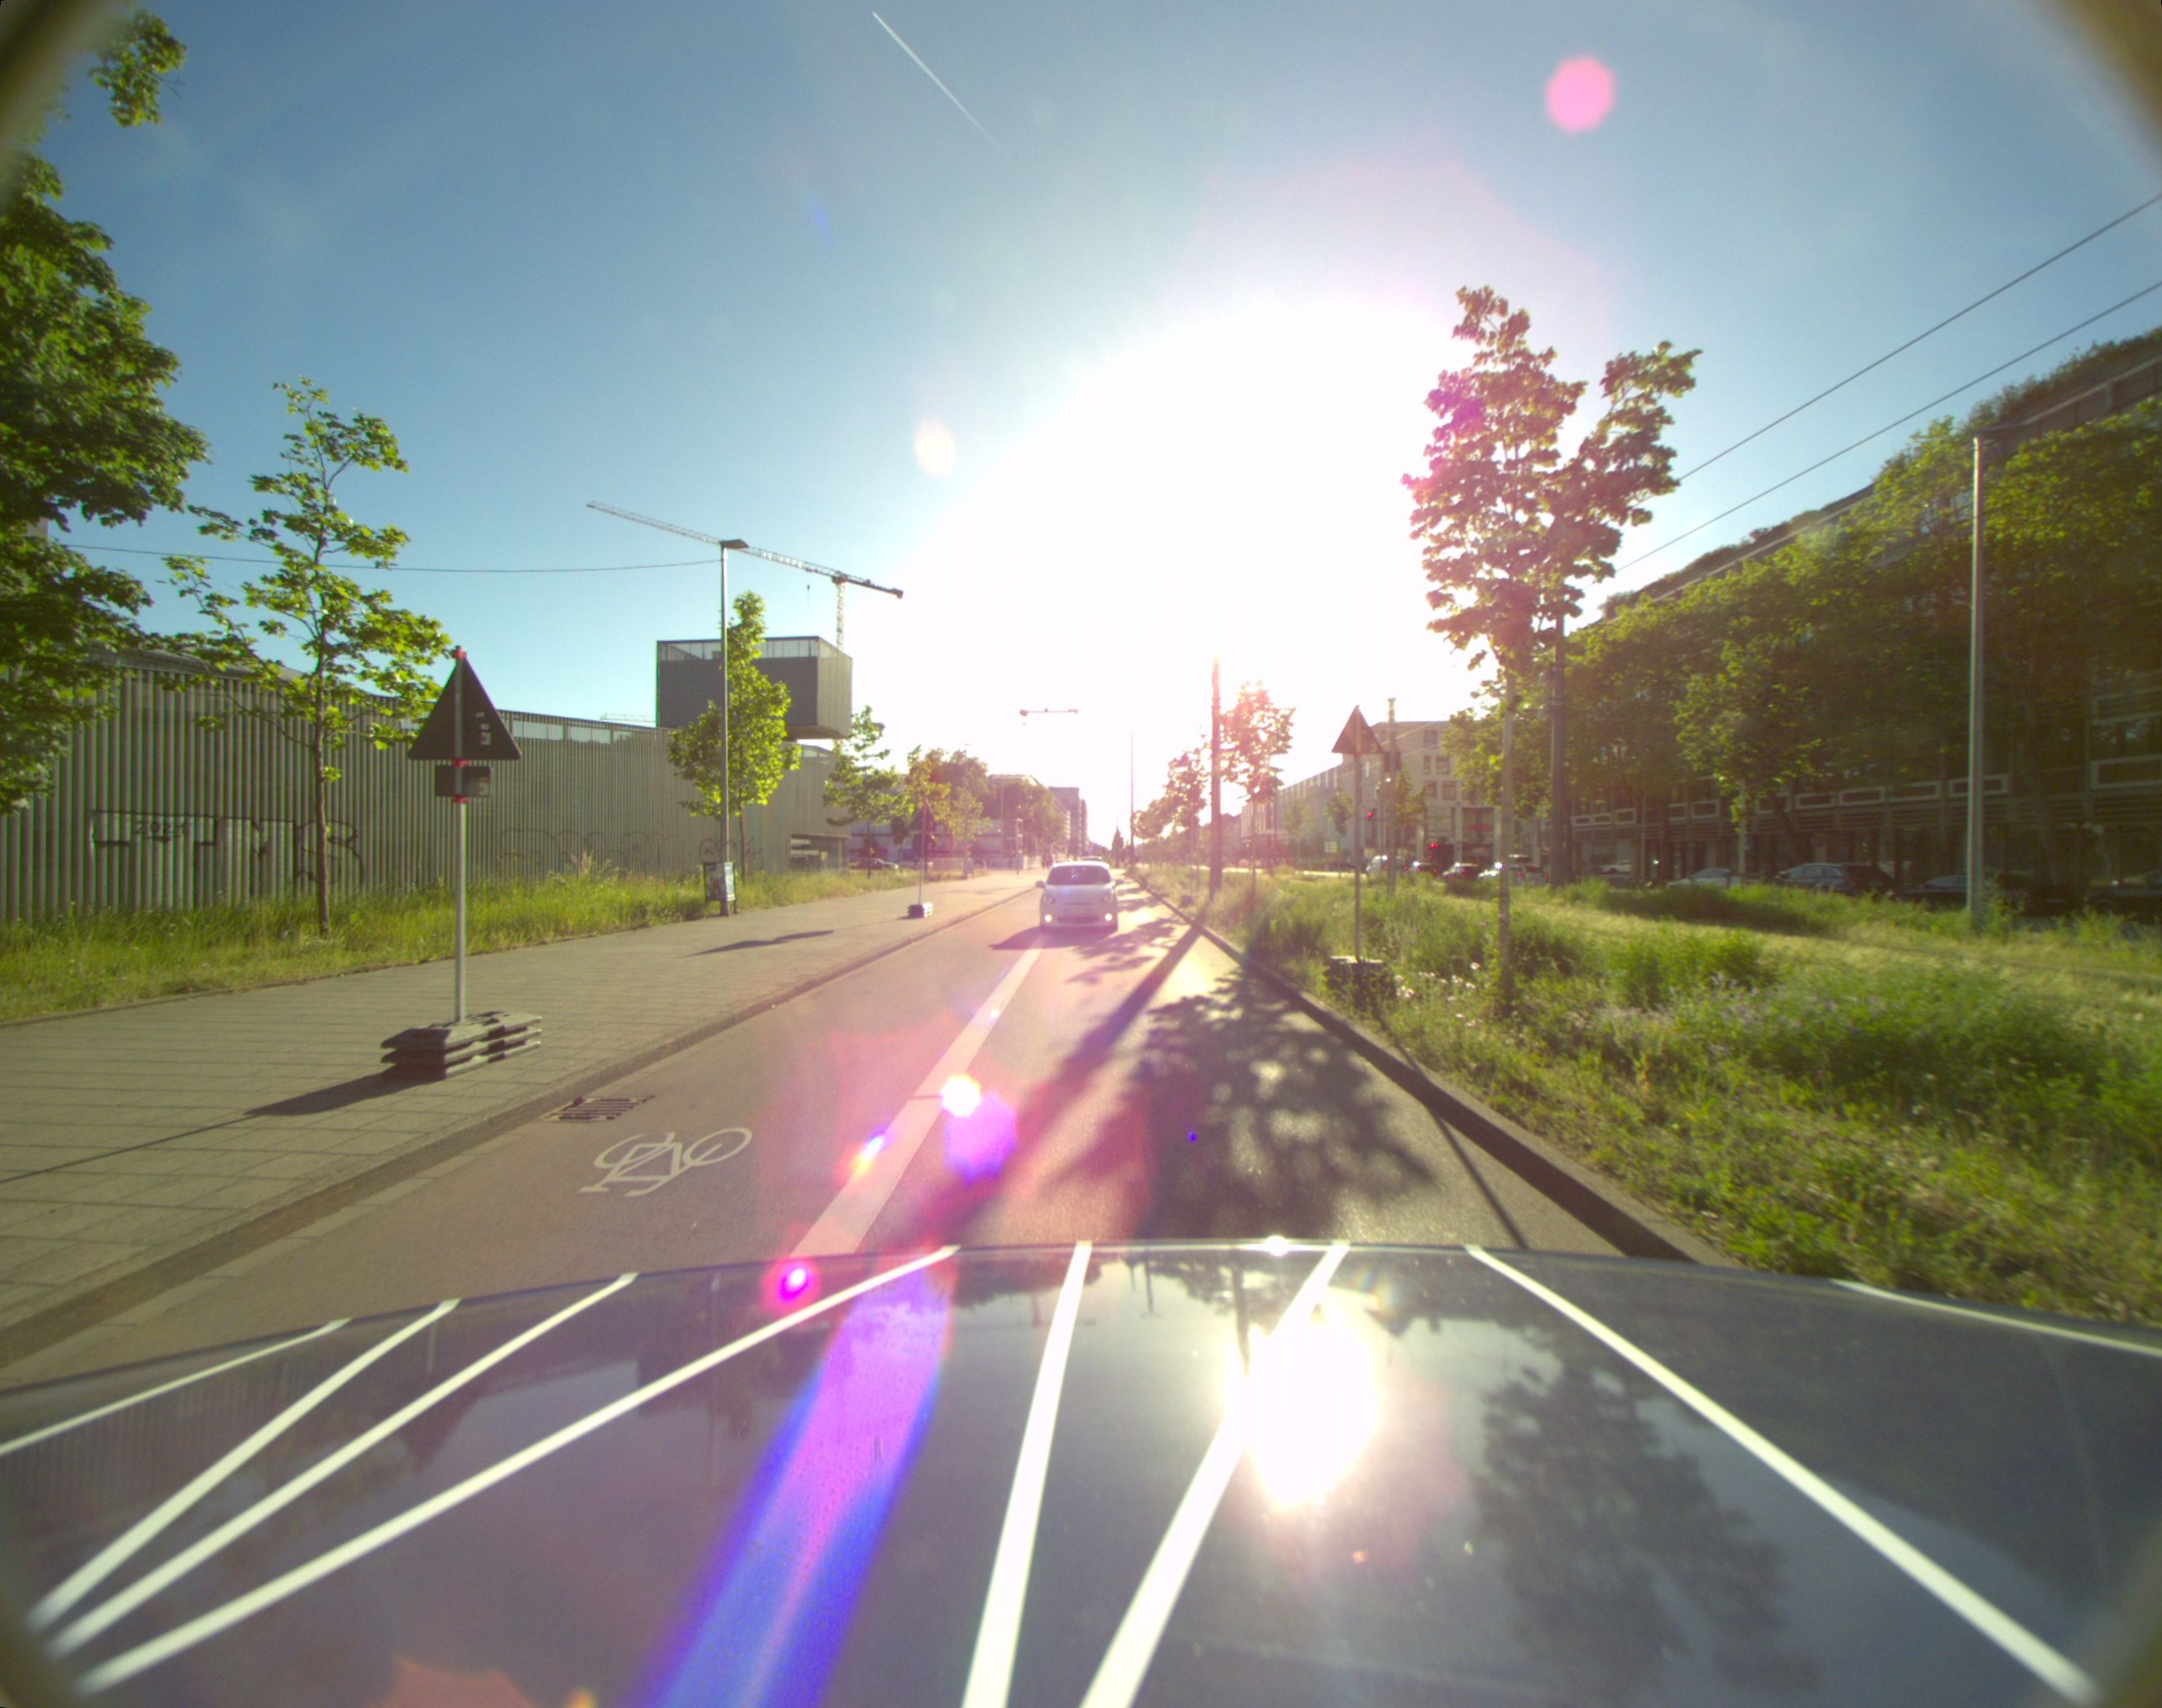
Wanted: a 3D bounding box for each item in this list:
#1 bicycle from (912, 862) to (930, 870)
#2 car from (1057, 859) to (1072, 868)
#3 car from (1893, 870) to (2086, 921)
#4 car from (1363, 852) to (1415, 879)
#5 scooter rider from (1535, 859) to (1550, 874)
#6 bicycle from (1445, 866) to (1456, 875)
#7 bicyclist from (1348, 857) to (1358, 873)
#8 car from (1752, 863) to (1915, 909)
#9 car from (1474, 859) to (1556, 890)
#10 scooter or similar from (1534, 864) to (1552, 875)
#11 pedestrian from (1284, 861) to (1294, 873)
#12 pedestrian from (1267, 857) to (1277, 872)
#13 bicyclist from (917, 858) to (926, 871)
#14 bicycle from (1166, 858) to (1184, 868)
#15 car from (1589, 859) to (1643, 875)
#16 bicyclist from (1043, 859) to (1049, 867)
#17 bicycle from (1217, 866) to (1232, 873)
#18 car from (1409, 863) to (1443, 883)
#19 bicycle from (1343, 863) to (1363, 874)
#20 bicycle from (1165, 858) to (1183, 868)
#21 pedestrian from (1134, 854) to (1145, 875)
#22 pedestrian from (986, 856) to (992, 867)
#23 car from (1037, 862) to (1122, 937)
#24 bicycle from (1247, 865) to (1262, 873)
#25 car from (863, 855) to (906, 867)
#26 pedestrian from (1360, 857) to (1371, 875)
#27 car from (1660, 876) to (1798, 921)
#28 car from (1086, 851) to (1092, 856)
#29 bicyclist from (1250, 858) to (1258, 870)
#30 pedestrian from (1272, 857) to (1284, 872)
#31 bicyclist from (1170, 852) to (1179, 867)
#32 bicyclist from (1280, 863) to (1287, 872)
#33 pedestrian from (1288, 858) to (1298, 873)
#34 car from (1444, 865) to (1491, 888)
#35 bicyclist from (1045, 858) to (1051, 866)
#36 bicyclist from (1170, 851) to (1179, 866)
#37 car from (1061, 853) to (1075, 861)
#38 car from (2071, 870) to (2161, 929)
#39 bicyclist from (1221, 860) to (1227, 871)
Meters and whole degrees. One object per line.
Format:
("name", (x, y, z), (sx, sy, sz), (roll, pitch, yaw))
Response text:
("bicycle", (-18.358, 1.371, 87.351), (1.909, 0.903, 0.624), (0, 1, -3))
("car", (-2.654, 1.457, 121.161), (1.998, 1.368, 4.001), (-1, 0, 3))
("car", (30.731, 1.352, 25.913), (1.998, 1.512, 4.002), (0, 0, 5))
("car", (25.089, 0.914, 62.091), (2.263, 2.002, 5.711), (2, 0, 4))
("scooter rider", (48.042, 1.339, 79.072), (1.116, 1.535, 0.644), (0, 1, 5))
("bicycle", (48.724, 2.127, 100.246), (0.657, 1.106, 2.412), (0, 0, 8))
("bicyclist", (27.881, 1.120, 77.968), (0.785, 1.659, 0.702), (0, 0, 5))
("car", (31.225, 1.261, 31.793), (1.999, 1.670, 4.868), (-1, 0, 0))
("car", (23.547, 1.058, 41.433), (1.844, 1.585, 4.693), (0, 0, 1))
("scooter or similar", (48.045, 1.599, 79.072), (1.482, 1.169, 0.644), (0, 1, 5))
("pedestrian", (28.937, 1.770, 105.781), (0.950, 1.641, 1.005), (0, 1, -38))
("pedestrian", (27.173, 1.456, 107.961), (0.948, 2.111, 0.896), (0, 1, -27))
("bicyclist", (-18.340, 1.190, 87.353), (0.937, 1.495, 0.624), (0, 1, -3))
("bicycle", (9.720, 0.929, 78.822), (1.799, 1.087, 0.652), (0, 0, -2))
("car", (61.370, 1.484, 87.182), (4.543, 1.703, 2.126), (1, 2, 11))
("bicyclist", (-5.310, 1.333, 116.386), (0.636, 1.263, 0.807), (-1, 0, 24))
("bicycle", (20.062, 2.133, 106.178), (2.074, 0.973, 0.806), (-1, 0, 10))
("car", (28.498, 1.585, 62.819), (1.842, 1.477, 3.885), (3, 0, 14))
("bicycle", (27.882, 1.520, 77.981), (1.798, 1.087, 0.709), (0, 0, 5))
("bicycle", (9.724, 0.933, 79.573), (1.815, 1.110, 0.625), (0, 0, -2))
("pedestrian", (5.475, 0.985, 71.355), (1.049, 1.900, 1.015), (0, 0, 6))
("pedestrian", (-13.961, 1.102, 115.301), (0.653, 1.670, 0.841), (0, 0, 8))
("car", (0.075, 0.947, 17.299), (1.659, 1.463, 3.970), (0, 0, 4))
("bicycle", (24.097, 2.093, 105.760), (1.976, 0.991, 0.649), (0, 0, 4))
("car", (-23.128, 0.771, 89.347), (4.519, 1.344, 1.778), (0, 1, 9))
("pedestrian", (27.283, 1.155, 72.960), (0.739, 1.734, 0.858), (-1, 0, 0))
("car", (25.920, 1.741, 30.642), (1.762, 1.507, 4.583), (1, 0, 2))
("car", (2.313, -0.201, 224.307), (1.784, 1.317, 3.999), (0, 1, 1))
("bicyclist", (24.087, 1.391, 105.765), (0.940, 1.536, 0.649), (0, 0, 4))
("pedestrian", (27.527, 1.436, 106.165), (1.099, 2.116, 1.061), (0, 1, -22))
("bicyclist", (9.732, 0.536, 78.807), (0.847, 1.534, 0.652), (0, 0, -2))
("bicyclist", (29.107, 1.912, 109.189), (0.840, 1.349, 0.806), (-1, 0, 19))
("pedestrian", (30.036, 1.634, 107.759), (1.025, 2.002, 0.915), (0, 0, -23))
("car", (27.588, 1.603, 54.337), (1.714, 1.444, 3.577), (3, 0, 5))
("bicyclist", (-5.130, 1.211, 118.905), (0.805, 1.290, 0.776), (-1, 0, 0))
("bicyclist", (9.796, 0.516, 79.567), (0.894, 1.565, 0.625), (0, 0, -1))
("car", (-2.188, 0.474, 127.071), (1.998, 1.368, 4.001), (-1, 0, 3))
("car", (30.619, 1.263, 20.539), (1.748, 1.548, 4.623), (-1, 0, 1))
("bicyclist", (20.018, 1.609, 106.192), (0.842, 1.394, 0.806), (-1, 0, 10))
